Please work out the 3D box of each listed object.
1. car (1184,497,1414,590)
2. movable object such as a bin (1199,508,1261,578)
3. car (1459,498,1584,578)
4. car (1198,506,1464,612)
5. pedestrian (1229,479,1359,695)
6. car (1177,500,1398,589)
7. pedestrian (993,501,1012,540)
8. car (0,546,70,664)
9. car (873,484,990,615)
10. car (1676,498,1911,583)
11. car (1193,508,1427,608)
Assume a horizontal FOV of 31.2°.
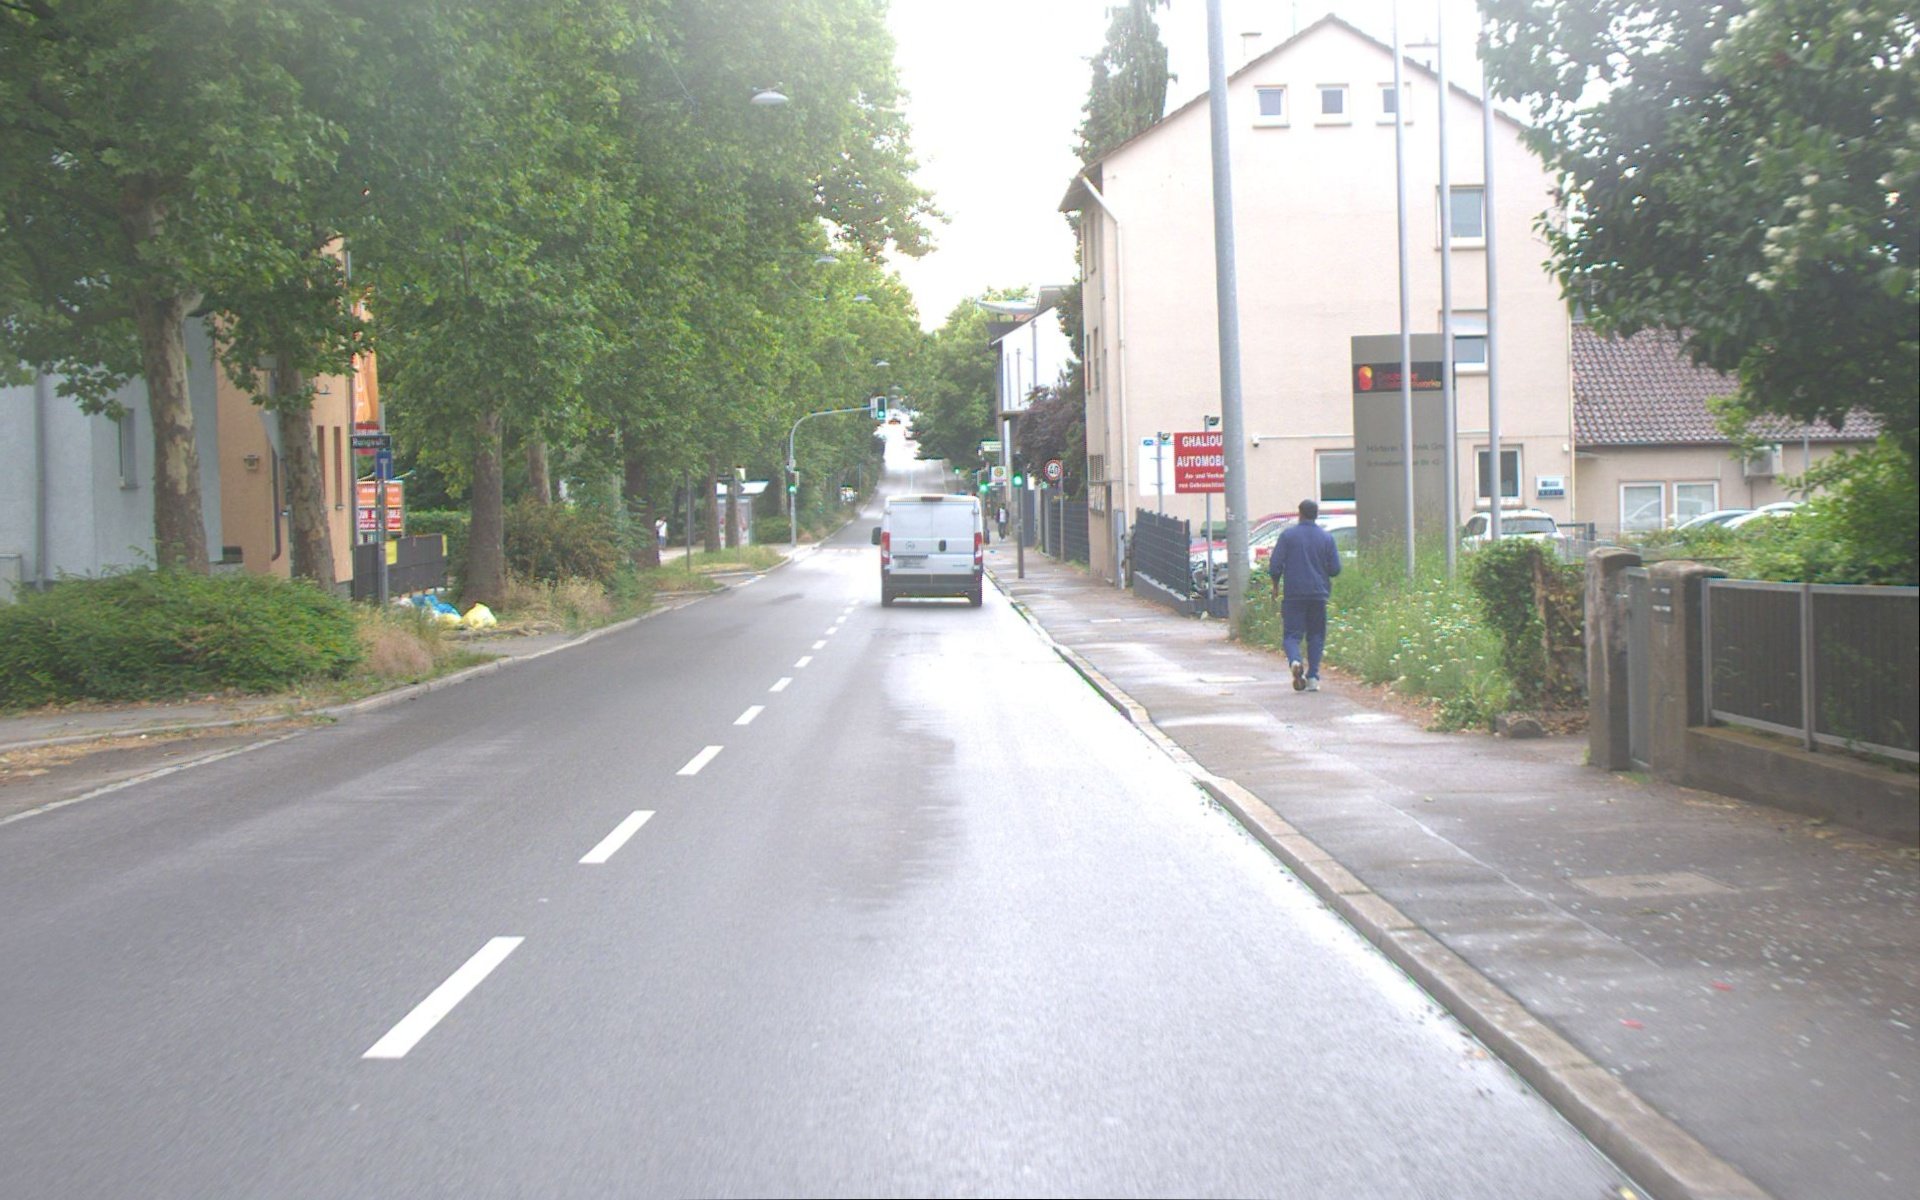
[{"bbox_3d":[6.514,-1.075,66.398,4.228,1.730,1.870,1,0,0],"label":"car"},{"bbox_3d":[6.057,-1.270,77.189,1.234,1.504,1.111,-3,0,-1],"label":"movable object such as a bin"},{"bbox_3d":[11.107,-1.208,68.193,1.808,1.525,3.628,1,0,-1],"label":"car"},{"bbox_3d":[6.292,-0.695,58.612,4.302,1.762,2.000,0,0,0],"label":"car"},{"bbox_3d":[2.984,-0.119,30.779,1.043,1.891,0.901,-1,0,0],"label":"pedestrian"},{"bbox_3d":[6.544,-1.109,68.955,4.228,1.730,1.870,1,0,0],"label":"car"},{"bbox_3d":[1.895,-3.556,153.769,0.742,1.698,0.902,1,1,-6],"label":"pedestrian"},{"bbox_3d":[-13.951,0.037,43.919,4.662,1.471,1.870,1,0,0],"label":"car"},{"bbox_3d":[-0.567,-1.012,69.738,2.282,2.544,4.000,-1,0,0],"label":"car"},{"bbox_3d":[16.180,-1.147,66.852,4.084,1.595,1.795,1,0,-2],"label":"car"},{"bbox_3d":[6.190,-0.755,61.137,3.948,1.718,1.791,1,1,0],"label":"car"}]
